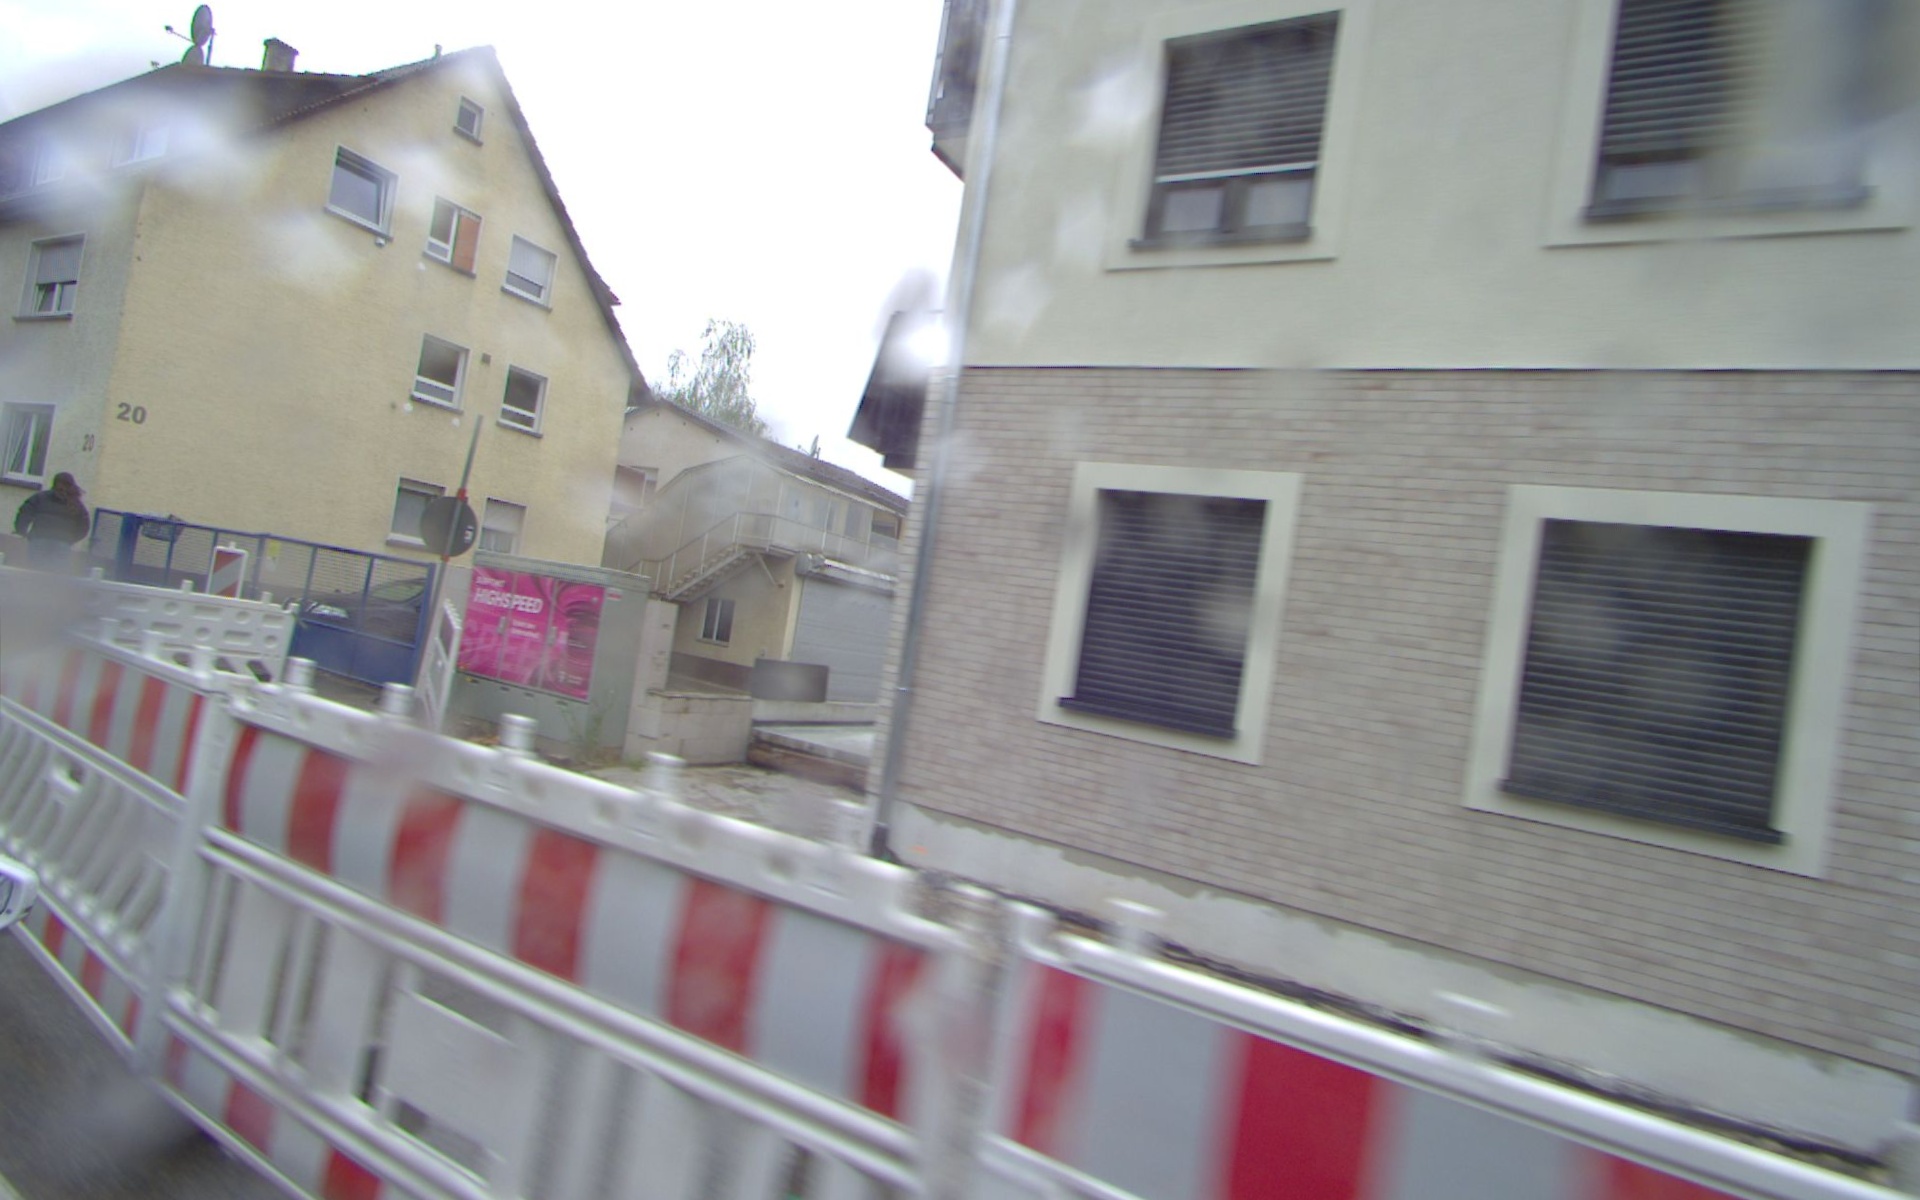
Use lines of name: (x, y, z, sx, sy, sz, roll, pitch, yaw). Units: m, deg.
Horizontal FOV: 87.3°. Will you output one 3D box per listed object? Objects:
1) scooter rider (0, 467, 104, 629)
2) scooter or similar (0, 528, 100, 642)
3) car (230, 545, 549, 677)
scooter rider: (-10.714, -0.603, 11.781, 0.510, 1.752, 0.732, 7, -3, 36)
scooter or similar: (-10.709, -0.183, 11.739, 1.381, 1.139, 0.621, 6, -3, 38)
car: (-9.372, 0.262, 16.911, 1.880, 1.313, 4.164, 7, -7, 30)
